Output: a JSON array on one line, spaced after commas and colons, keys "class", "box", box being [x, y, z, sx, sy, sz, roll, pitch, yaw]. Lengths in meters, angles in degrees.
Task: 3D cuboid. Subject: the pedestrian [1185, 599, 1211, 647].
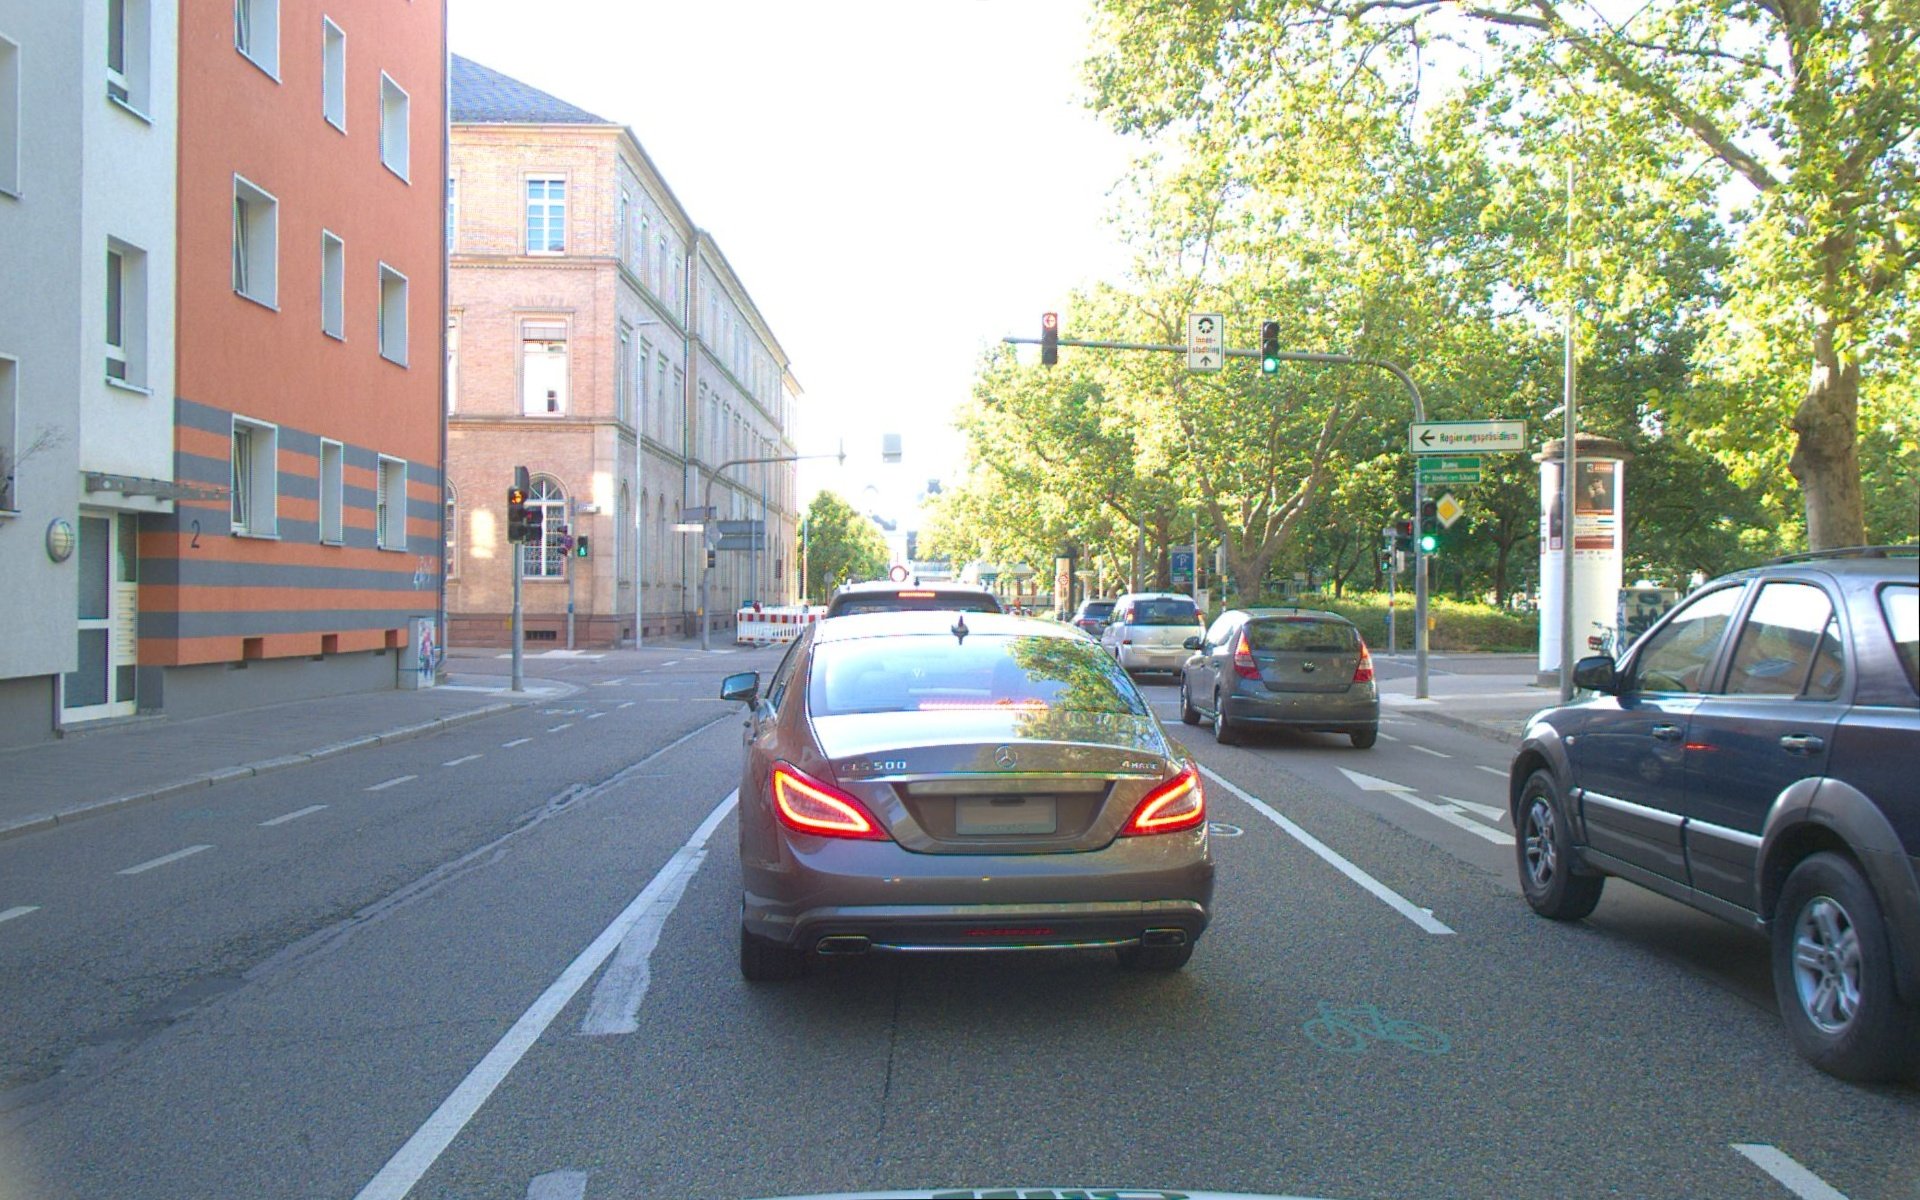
[{"class": "pedestrian", "box": [7.893, 0.767, 54.884, 0.623, 1.572, 0.909, 1, 0, -7]}]

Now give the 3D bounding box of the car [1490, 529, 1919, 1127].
[{"class": "car", "box": [3.777, 0.688, 6.597, 1.823, 1.794, 4.481, 1, 0, -1]}]

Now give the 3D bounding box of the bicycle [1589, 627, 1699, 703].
[{"class": "bicycle", "box": [9.872, 0.920, 23.843, 1.868, 1.046, 0.633, 1, -1, -39]}]

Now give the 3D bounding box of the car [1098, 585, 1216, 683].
[{"class": "car", "box": [3.630, 0.608, 31.050, 1.696, 1.691, 3.680, 1, 0, -1]}]

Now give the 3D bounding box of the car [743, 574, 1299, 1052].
[{"class": "car", "box": [-0.032, 0.690, 7.470, 1.826, 1.545, 3.993, 1, 0, -8]}]

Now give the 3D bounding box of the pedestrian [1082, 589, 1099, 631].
[{"class": "pedestrian", "box": [5.756, 0.433, 72.751, 0.623, 1.828, 0.698, 1, -1, -5]}]

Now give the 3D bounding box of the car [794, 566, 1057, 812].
[{"class": "car", "box": [-0.269, 0.619, 13.597, 1.823, 1.712, 3.999, 1, 0, -1]}]

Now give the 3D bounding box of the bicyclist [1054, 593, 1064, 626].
[{"class": "bicyclist", "box": [6.294, 0.595, 105.089, 0.583, 2.075, 0.565, 1, -1, -5]}]

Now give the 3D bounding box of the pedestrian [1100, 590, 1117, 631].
[{"class": "pedestrian", "box": [6.539, 0.453, 72.838, 0.623, 1.791, 0.698, 1, -1, -4]}]

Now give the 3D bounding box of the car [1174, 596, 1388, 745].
[{"class": "car", "box": [3.647, 0.735, 19.422, 1.670, 1.545, 3.999, 1, 0, -1]}]

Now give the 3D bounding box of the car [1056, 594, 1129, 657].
[{"class": "car", "box": [3.493, 0.654, 44.015, 1.568, 1.576, 3.680, 1, 0, -1]}]
